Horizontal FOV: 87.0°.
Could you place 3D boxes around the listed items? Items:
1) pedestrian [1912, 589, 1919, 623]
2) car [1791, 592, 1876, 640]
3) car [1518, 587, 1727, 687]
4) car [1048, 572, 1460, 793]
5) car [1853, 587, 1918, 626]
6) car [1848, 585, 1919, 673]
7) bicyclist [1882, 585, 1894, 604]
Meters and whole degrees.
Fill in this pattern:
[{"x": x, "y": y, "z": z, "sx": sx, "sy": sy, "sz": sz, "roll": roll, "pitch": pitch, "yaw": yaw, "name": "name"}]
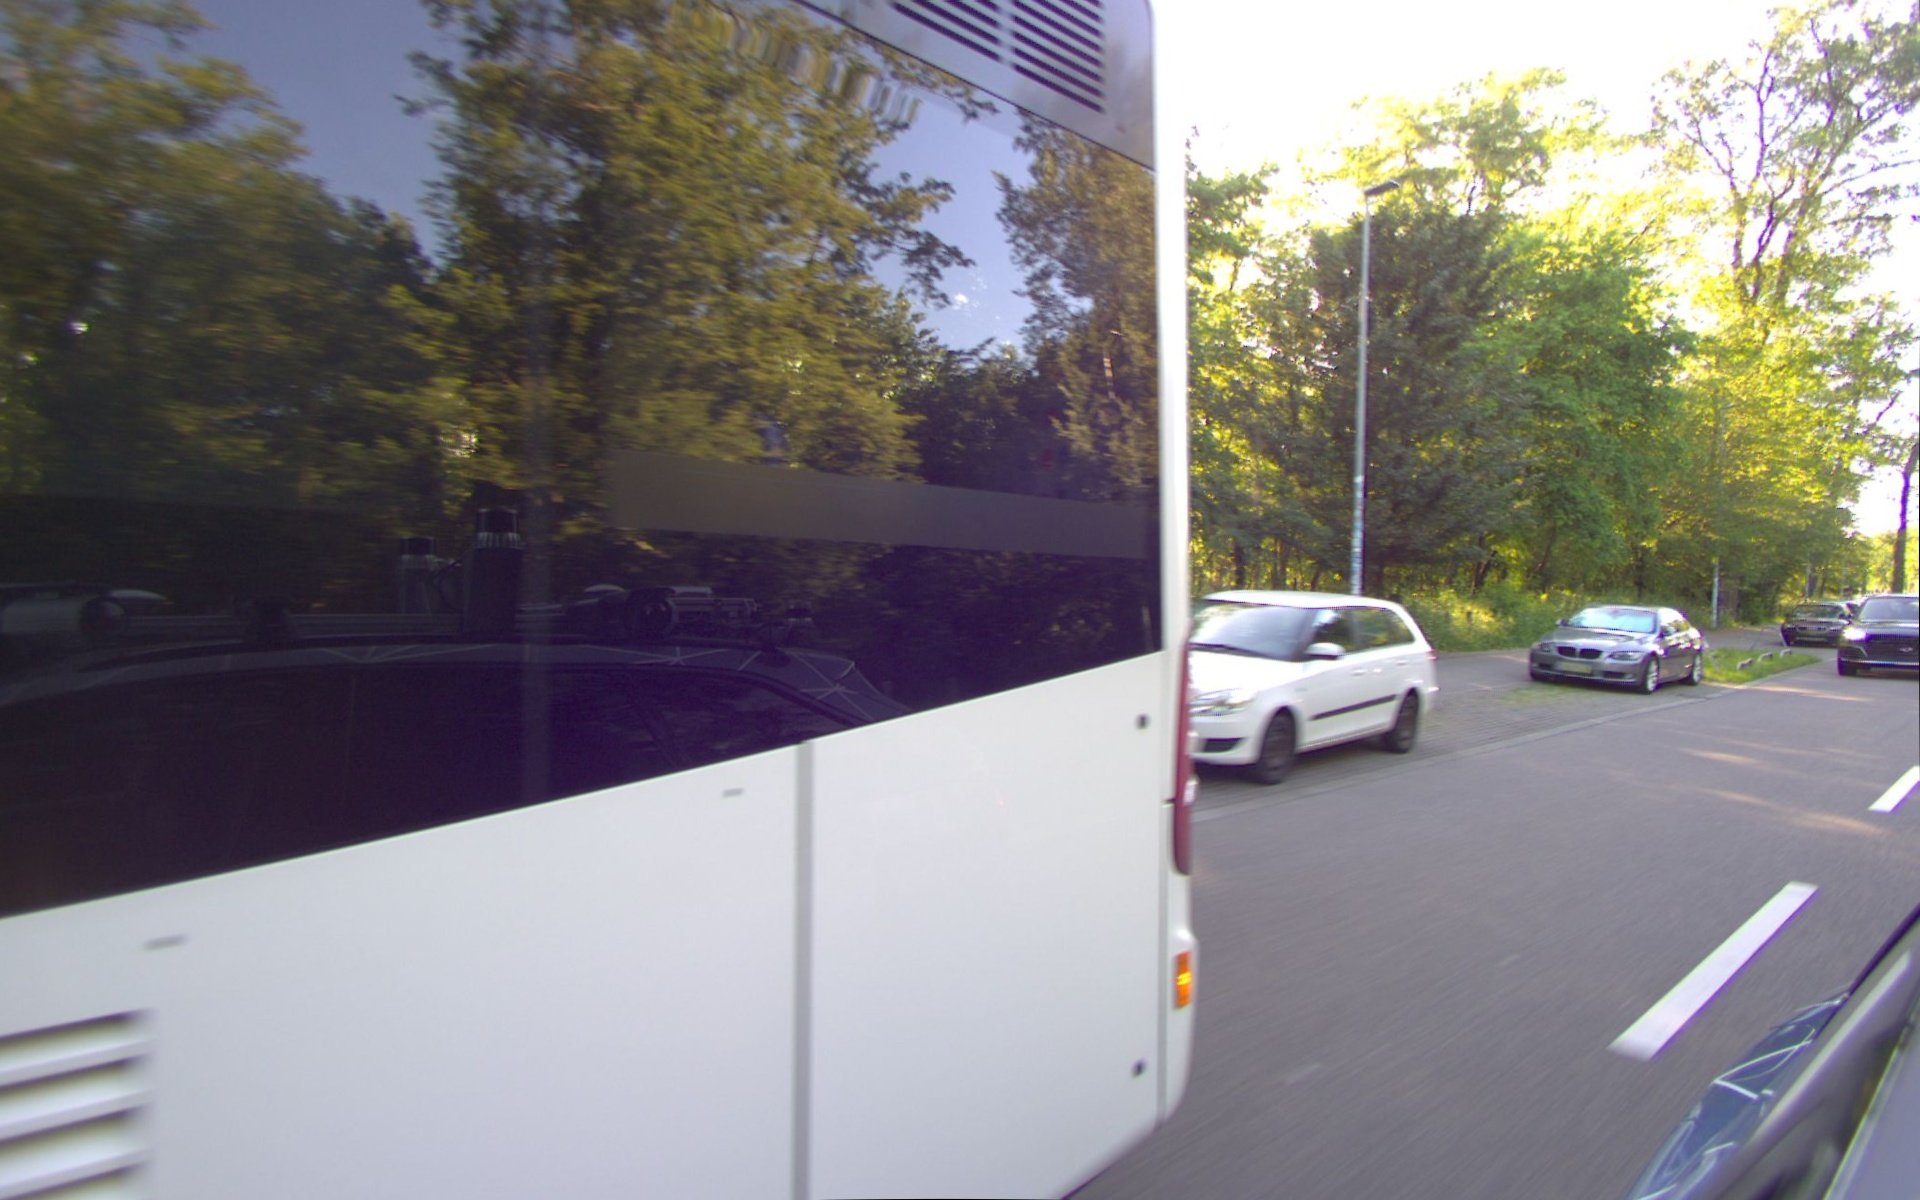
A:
[{"x": 51.605, "y": 0.330, "z": 54.324, "sx": 0.509, "sy": 1.778, "sz": 0.727, "roll": 3, "pitch": 2, "yaw": 32, "name": "pedestrian"}, {"x": 28.205, "y": 0.479, "z": 32.659, "sx": 3.881, "sy": 1.409, "sz": 1.737, "roll": 0, "pitch": 2, "yaw": -44, "name": "car"}, {"x": 11.598, "y": 0.553, "z": 17.604, "sx": 4.443, "sy": 1.408, "sz": 1.857, "roll": 0, "pitch": 4, "yaw": -41, "name": "car"}, {"x": 2.873, "y": 0.580, "z": 9.402, "sx": 4.099, "sy": 1.529, "sz": 1.731, "roll": 0, "pitch": 4, "yaw": -42, "name": "car"}, {"x": 42.414, "y": 0.266, "z": 46.326, "sx": 4.645, "sy": 1.604, "sz": 1.855, "roll": 0, "pitch": 4, "yaw": -44, "name": "car"}, {"x": 19.396, "y": 0.537, "z": 20.399, "sx": 3.933, "sy": 1.638, "sz": 1.859, "roll": 0, "pitch": 2, "yaw": -43, "name": "car"}, {"x": 82.044, "y": -0.487, "z": 89.449, "sx": 0.862, "sy": 1.580, "sz": 0.702, "roll": -1, "pitch": 4, "yaw": -45, "name": "bicyclist"}]
